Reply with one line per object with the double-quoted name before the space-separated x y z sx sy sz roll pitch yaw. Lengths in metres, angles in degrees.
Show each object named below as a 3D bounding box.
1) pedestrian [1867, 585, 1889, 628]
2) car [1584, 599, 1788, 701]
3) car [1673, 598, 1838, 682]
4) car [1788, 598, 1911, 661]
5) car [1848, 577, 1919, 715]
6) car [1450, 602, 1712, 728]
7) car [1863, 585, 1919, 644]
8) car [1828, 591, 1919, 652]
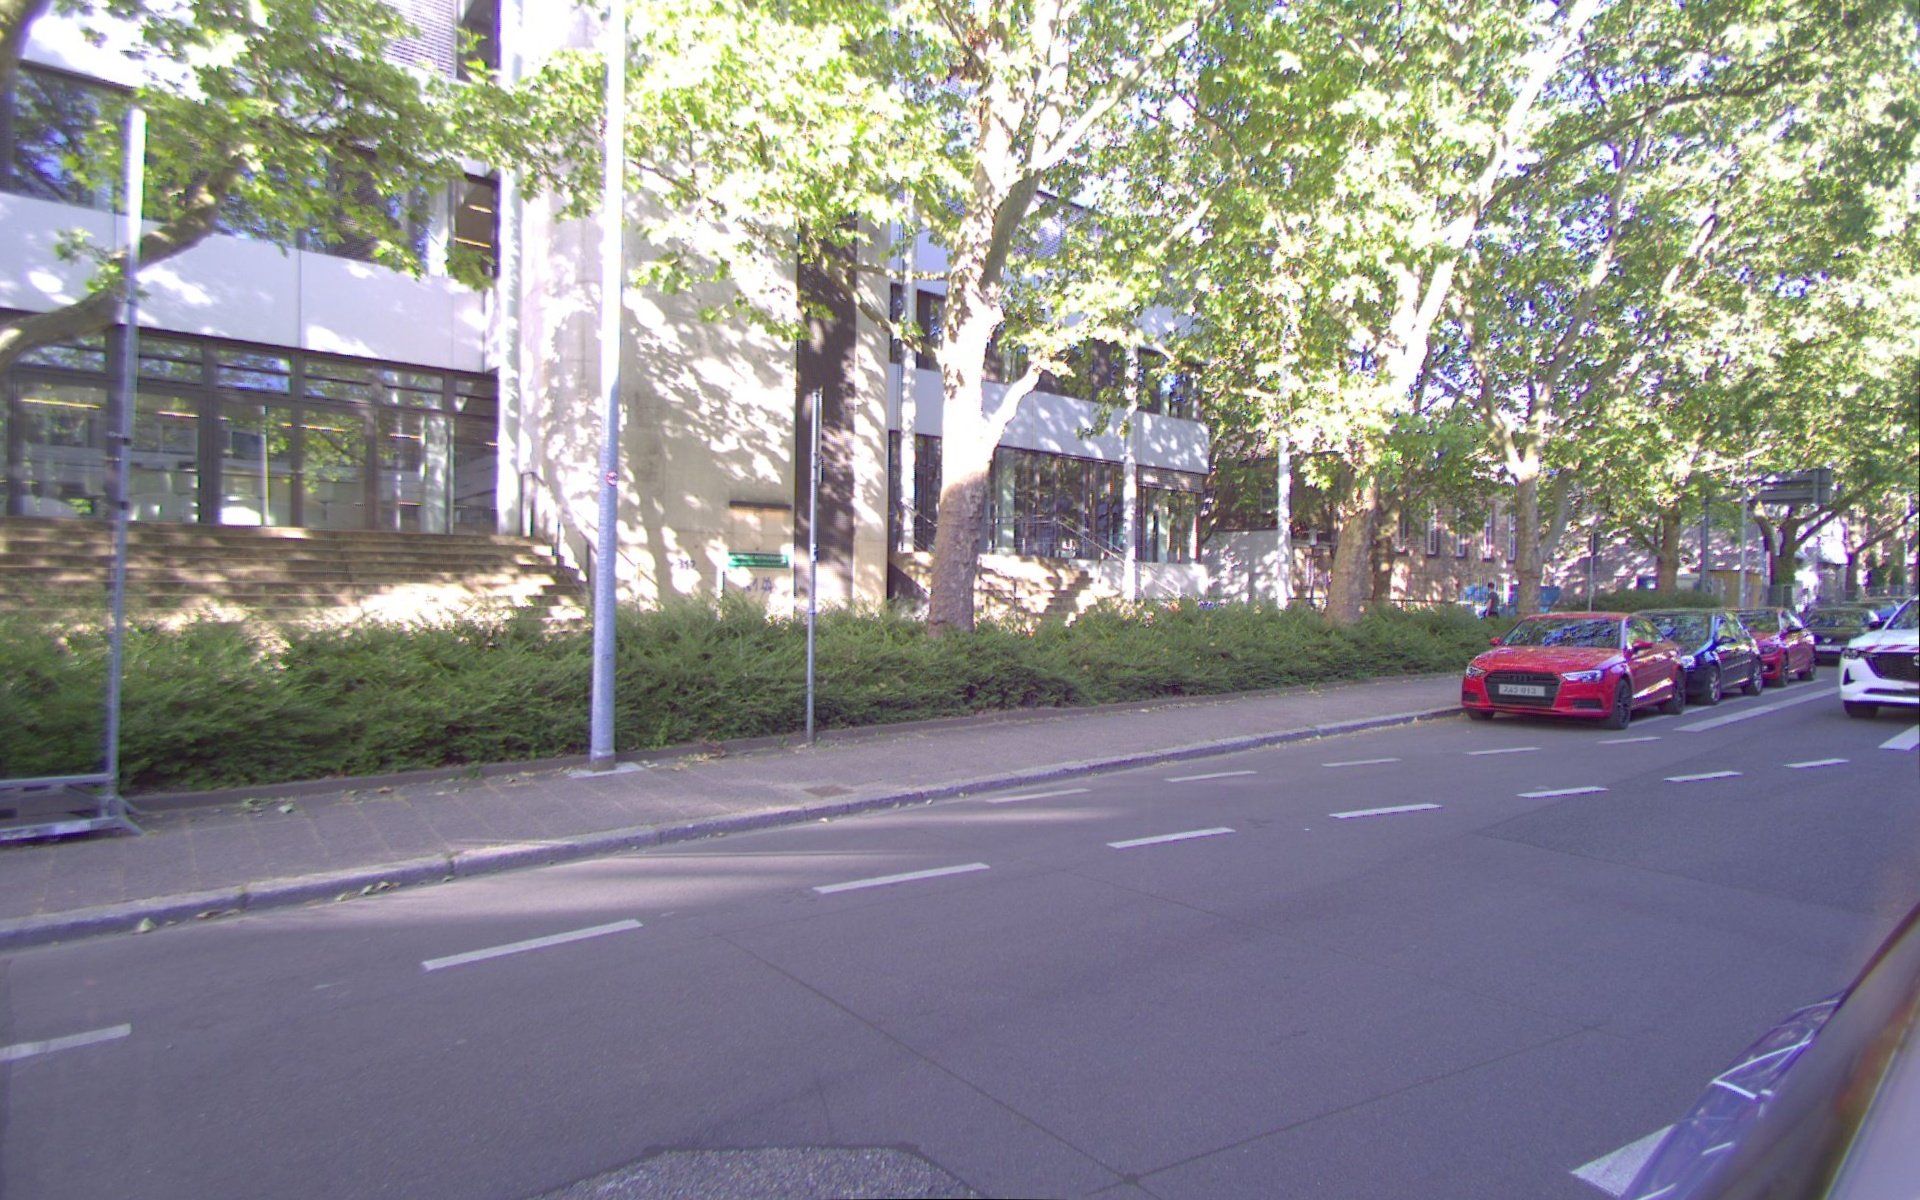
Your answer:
"pedestrian" 41.093 0.290 45.289 0.629 1.884 0.660 0 0 -41
"car" 12.028 0.721 16.683 4.095 1.464 1.834 0 0 -41
"car" 15.844 0.712 20.098 4.095 1.486 1.834 0 0 -41
"car" 22.877 0.705 25.989 4.095 1.486 1.834 0 0 -41
"car" 13.960 0.569 13.699 4.721 1.709 1.910 0 0 -36
"car" 8.409 0.739 13.567 4.173 1.422 1.834 0 0 -41
"car" 31.051 0.443 32.972 4.383 1.820 1.834 0 0 -40
"car" 26.566 0.576 29.083 4.088 1.626 1.834 0 0 -40
